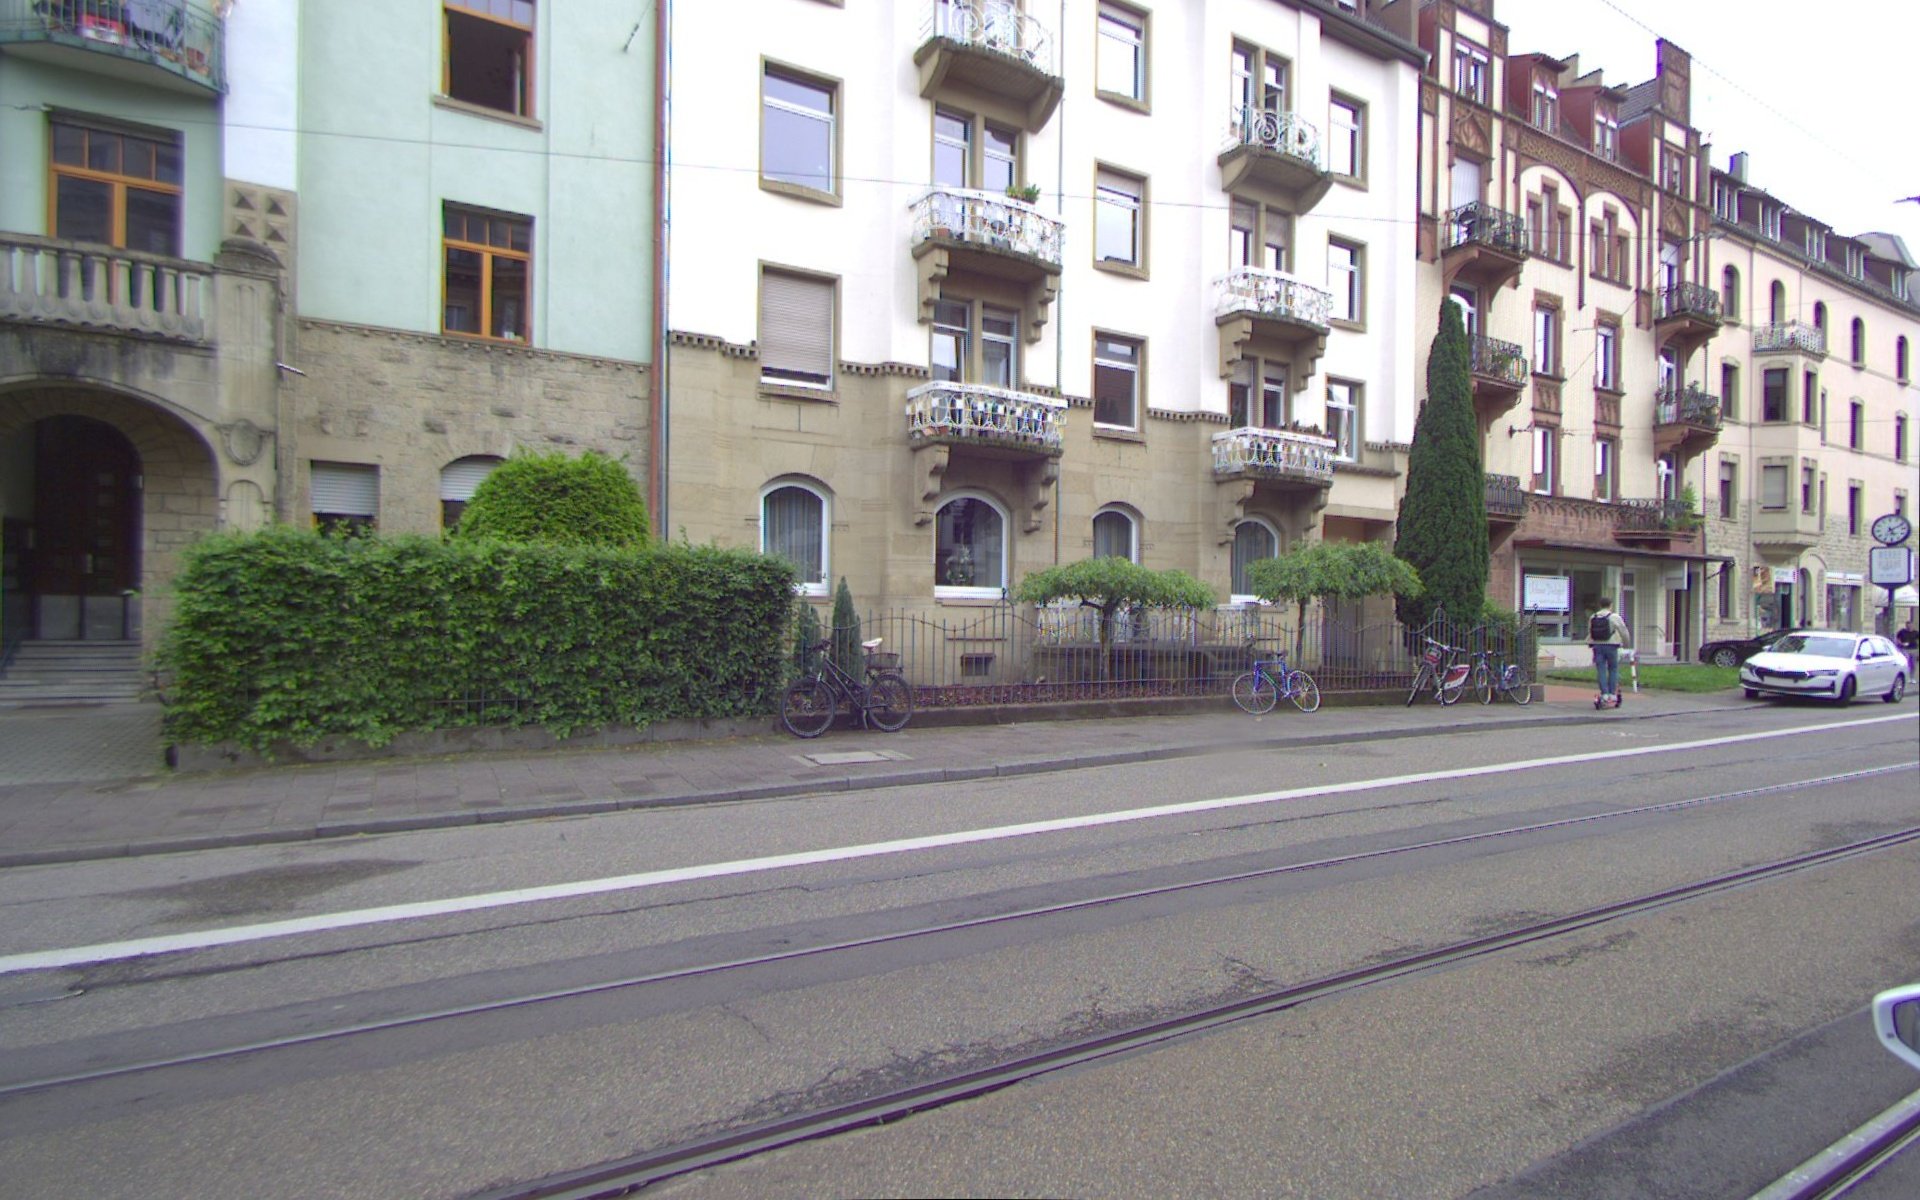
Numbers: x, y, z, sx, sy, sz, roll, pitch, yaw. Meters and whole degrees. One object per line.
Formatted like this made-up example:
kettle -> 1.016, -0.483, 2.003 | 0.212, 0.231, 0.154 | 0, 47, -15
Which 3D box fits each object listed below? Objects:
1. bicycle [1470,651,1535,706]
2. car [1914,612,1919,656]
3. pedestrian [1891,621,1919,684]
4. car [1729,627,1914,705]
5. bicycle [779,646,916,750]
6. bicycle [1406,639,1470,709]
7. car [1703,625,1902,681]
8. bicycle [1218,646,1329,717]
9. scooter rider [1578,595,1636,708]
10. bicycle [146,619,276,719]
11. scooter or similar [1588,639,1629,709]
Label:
bicycle -> 9.875, 1.405, 18.266 | 1.498, 0.950, 0.330 | 1, -1, -31
car -> 53.656, 1.860, 53.355 | 2.142, 2.449, 5.382 | 0, -1, 18
pedestrian -> 28.604, 1.567, 30.266 | 0.874, 1.868, 0.663 | 1, -1, -38
car -> 18.645, 1.357, 21.697 | 4.557, 1.504, 1.738 | 1, -1, -31
bicycle -> -1.262, 1.082, 11.380 | 1.529, 1.098, 0.358 | 1, -1, -31
bicycle -> 8.062, 1.229, 16.924 | 1.613, 1.116, 0.381 | 1, -1, -42
car -> 26.179, 1.592, 31.354 | 1.861, 1.389, 4.397 | 1, 1, -34
bicycle -> 4.723, 1.212, 15.122 | 1.640, 0.938, 0.358 | 0, -19, -28
scooter rider -> 11.923, 0.935, 18.524 | 0.749, 2.040, 0.639 | 1, -1, -30
bicycle -> -8.687, 0.779, 11.683 | 1.195, 1.098, 0.297 | 1, 2, -37
scooter or similar -> 11.934, 1.348, 18.486 | 0.942, 1.250, 0.230 | 1, -1, -31
